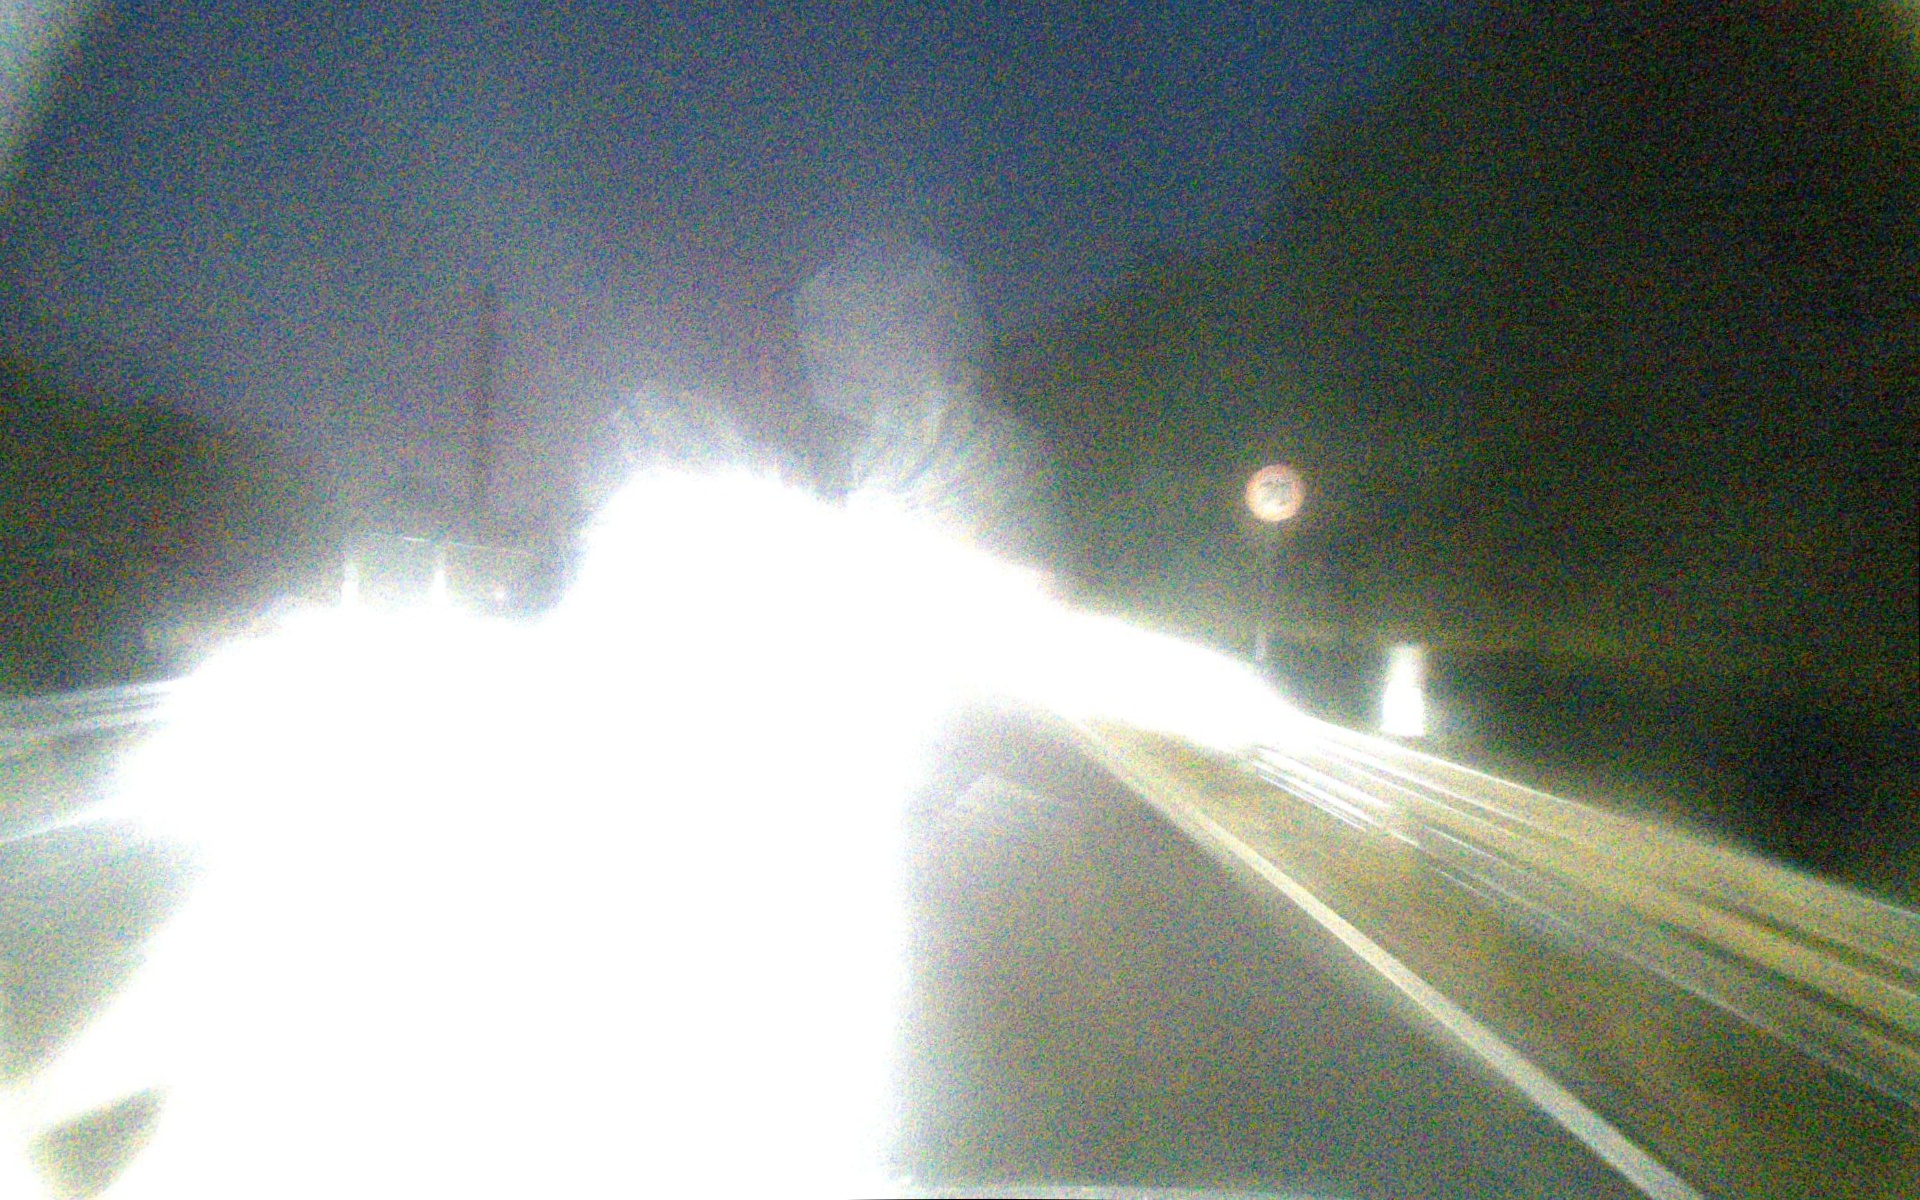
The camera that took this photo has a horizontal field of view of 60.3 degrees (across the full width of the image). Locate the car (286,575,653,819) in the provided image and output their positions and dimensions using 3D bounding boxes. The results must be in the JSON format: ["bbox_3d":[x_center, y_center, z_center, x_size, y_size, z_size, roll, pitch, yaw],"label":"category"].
[{"bbox_3d":[-3.435,0.609,12.281,1.667,1.532,3.683,0,0,-1],"label":"car"}]

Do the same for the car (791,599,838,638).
[{"bbox_3d":[-5.913,0.734,67.523,1.796,1.509,4.066,0,0,-4],"label":"car"}]

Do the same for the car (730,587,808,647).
[{"bbox_3d":[-5.103,0.423,44.624,1.796,1.509,4.350,0,0,-3],"label":"car"}]
